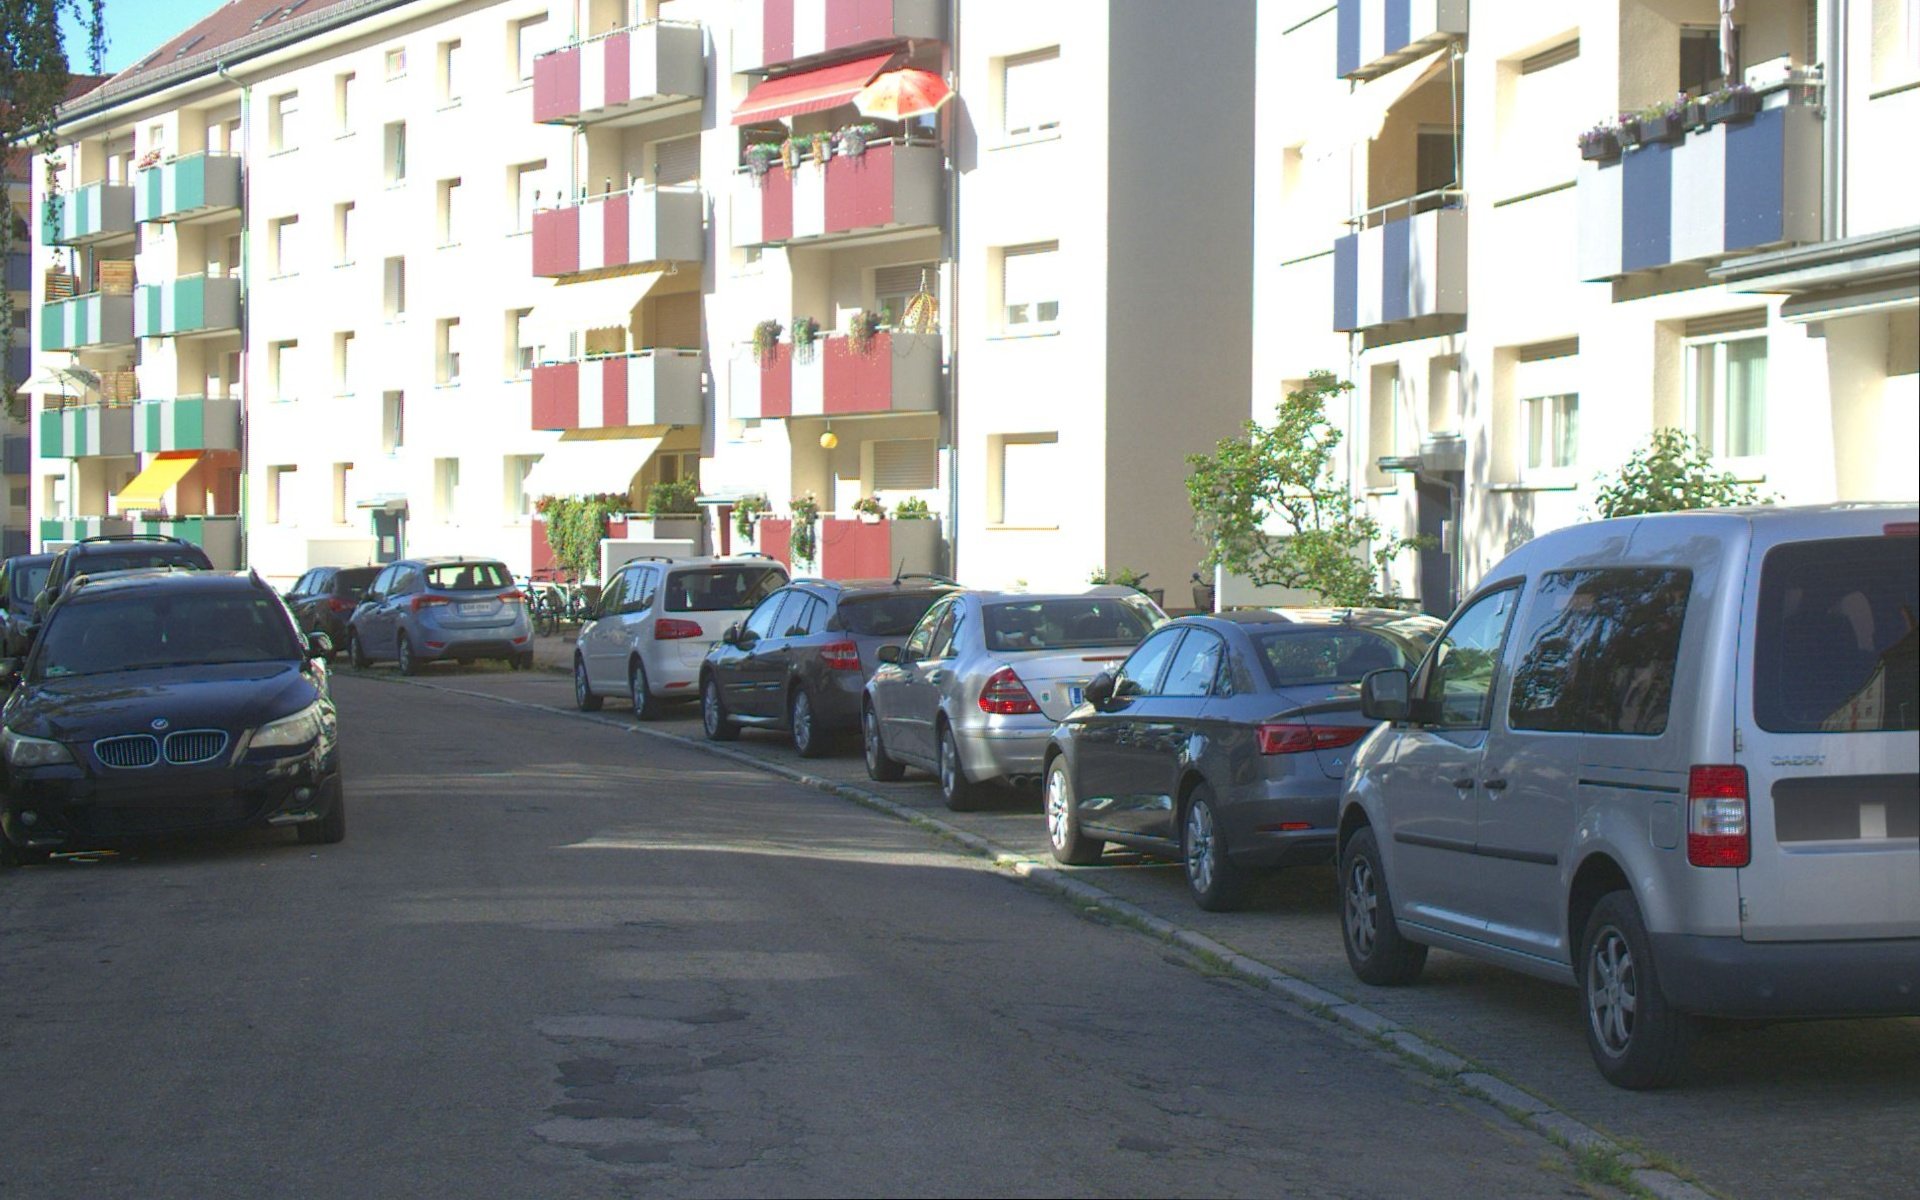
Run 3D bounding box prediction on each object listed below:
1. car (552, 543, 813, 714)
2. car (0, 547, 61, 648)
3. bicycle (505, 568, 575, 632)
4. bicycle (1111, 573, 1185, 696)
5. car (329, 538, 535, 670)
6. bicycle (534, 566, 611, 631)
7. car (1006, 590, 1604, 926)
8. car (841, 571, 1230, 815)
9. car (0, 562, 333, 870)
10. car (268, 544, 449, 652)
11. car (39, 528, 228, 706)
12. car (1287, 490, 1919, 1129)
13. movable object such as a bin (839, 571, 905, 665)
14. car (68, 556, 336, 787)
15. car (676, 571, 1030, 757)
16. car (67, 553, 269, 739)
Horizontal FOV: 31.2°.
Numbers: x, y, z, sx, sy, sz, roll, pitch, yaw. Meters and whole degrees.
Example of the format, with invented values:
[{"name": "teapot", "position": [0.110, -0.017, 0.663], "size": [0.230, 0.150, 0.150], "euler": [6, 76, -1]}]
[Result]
[{"name": "car", "position": [-2.984, 0.265, 36.126], "size": [1.693, 1.650, 4.391], "euler": [-1, 1, -19]}, {"name": "car", "position": [-14.379, -0.069, 50.214], "size": [1.693, 1.384, 4.157], "euler": [0, 1, -25]}, {"name": "bicycle", "position": [-6.934, -0.007, 56.716], "size": [0.497, 1.016, 1.842], "euler": [-2, 2, -28]}, {"name": "bicycle", "position": [1.936, 0.340, 35.604], "size": [0.514, 1.198, 1.761], "euler": [-1, 1, -4]}, {"name": "car", "position": [-7.428, 0.017, 48.078], "size": [1.765, 1.630, 4.042], "euler": [-2, 3, -25]}, {"name": "bicycle", "position": [-6.487, -0.028, 57.494], "size": [0.617, 0.974, 1.896], "euler": [-4, 4, -27]}, {"name": "car", "position": [1.600, 0.695, 17.706], "size": [1.677, 1.402, 4.547], "euler": [0, 1, -13]}, {"name": "car", "position": [0.399, 0.556, 23.783], "size": [1.677, 1.442, 4.725], "euler": [0, 1, -12]}, {"name": "car", "position": [-4.515, 0.563, 19.837], "size": [1.677, 1.448, 4.622], "euler": [-3, 2, -11]}, {"name": "car", "position": [-9.263, -0.069, 52.737], "size": [1.735, 1.503, 3.886], "euler": [-3, 2, -25]}, {"name": "car", "position": [-8.836, 0.139, 36.543], "size": [1.555, 1.708, 4.339], "euler": [-3, 2, -18]}, {"name": "car", "position": [2.593, 0.554, 12.166], "size": [1.746, 1.817, 4.133], "euler": [-2, 1, -10]}, {"name": "movable object such as a bin", "position": [-1.029, 0.208, 40.019], "size": [0.583, 1.052, 0.641], "euler": [-3, 0, -14]}, {"name": "car", "position": [-5.571, 0.441, 24.960], "size": [1.677, 1.437, 4.281], "euler": [-3, 2, -14]}, {"name": "car", "position": [-1.015, 0.481, 29.521], "size": [1.693, 1.426, 4.689], "euler": [-2, 1, -19]}, {"name": "car", "position": [-6.994, 0.346, 30.165], "size": [1.555, 1.437, 3.969], "euler": [-3, 2, -14]}]
